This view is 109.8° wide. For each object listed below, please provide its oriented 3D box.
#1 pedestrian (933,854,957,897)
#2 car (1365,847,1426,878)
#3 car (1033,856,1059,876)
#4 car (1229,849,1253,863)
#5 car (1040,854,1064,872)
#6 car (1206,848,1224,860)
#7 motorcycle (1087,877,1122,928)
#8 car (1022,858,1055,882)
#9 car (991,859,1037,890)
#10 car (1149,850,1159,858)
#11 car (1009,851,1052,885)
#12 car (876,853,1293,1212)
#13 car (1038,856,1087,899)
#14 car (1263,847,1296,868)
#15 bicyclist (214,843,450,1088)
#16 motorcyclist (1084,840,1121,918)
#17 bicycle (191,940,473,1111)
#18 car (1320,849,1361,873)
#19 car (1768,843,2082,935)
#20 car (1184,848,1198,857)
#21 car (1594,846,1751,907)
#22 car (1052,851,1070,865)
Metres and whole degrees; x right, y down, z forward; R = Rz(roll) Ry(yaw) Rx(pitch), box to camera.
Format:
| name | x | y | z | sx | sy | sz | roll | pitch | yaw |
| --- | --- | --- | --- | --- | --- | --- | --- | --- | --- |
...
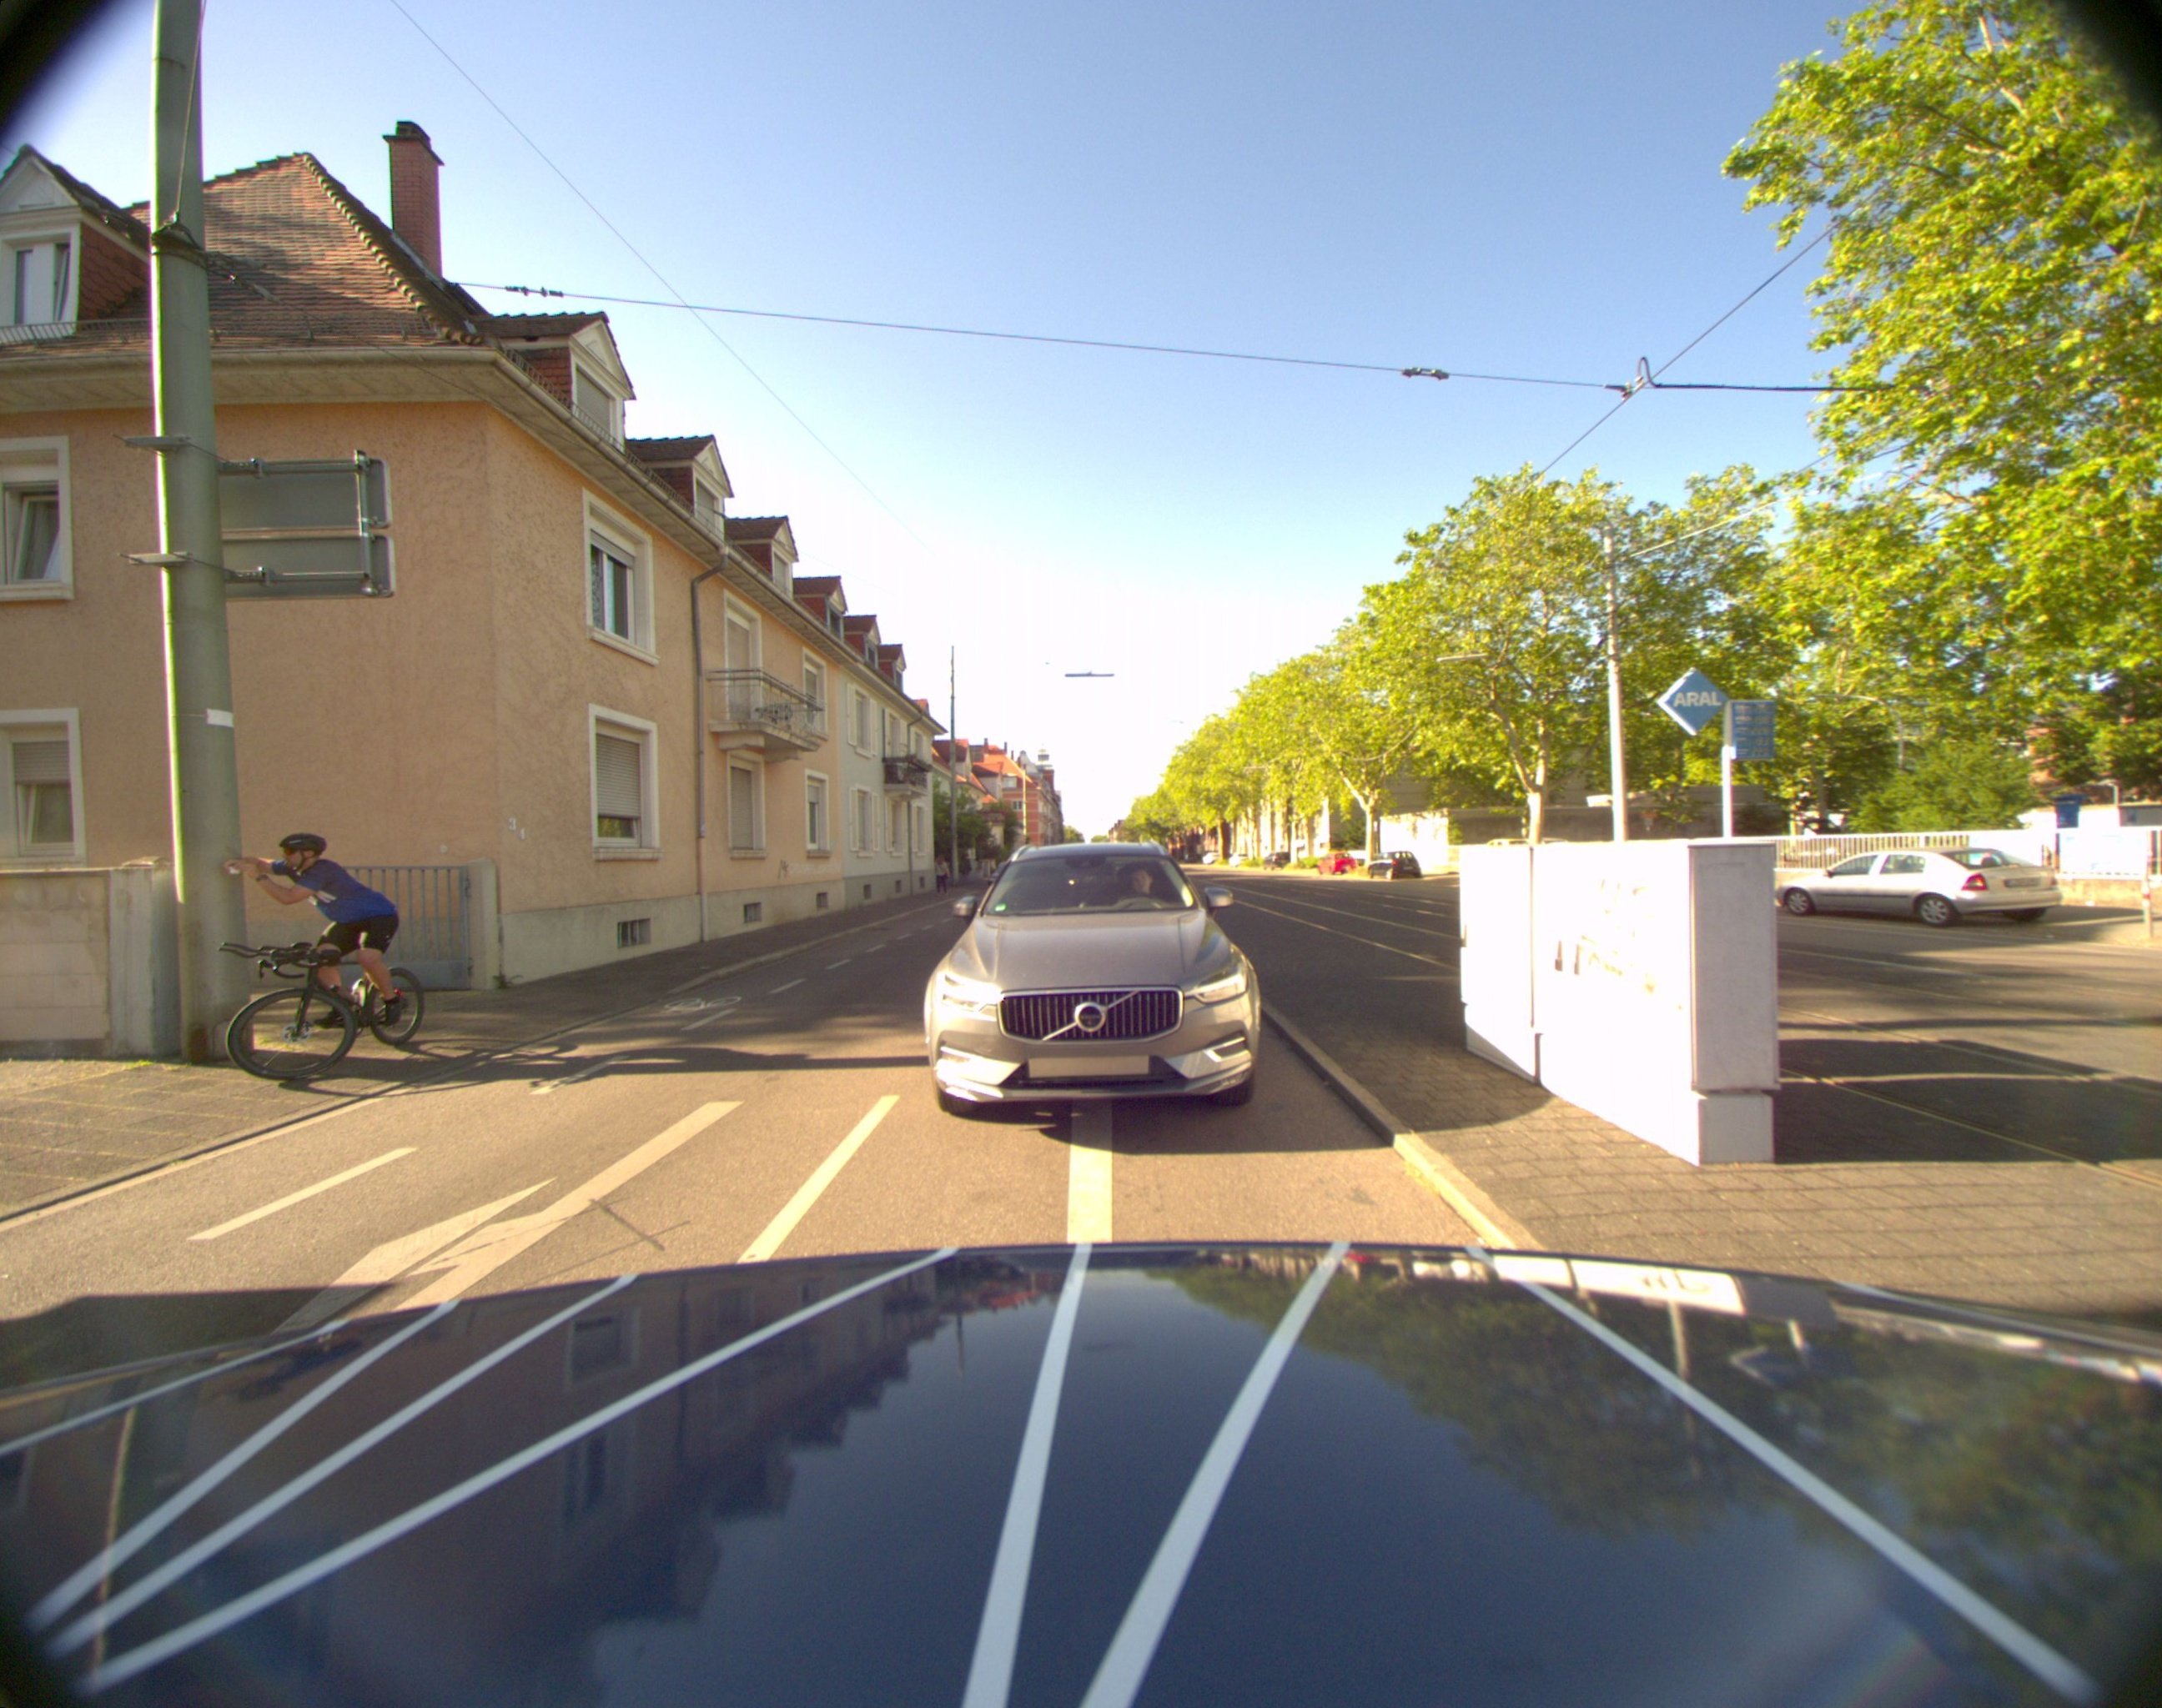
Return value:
| name | x | y | z | sx | sy | sz | roll | pitch | yaw |
| --- | --- | --- | --- | --- | --- | --- | --- | --- | --- |
| pedestrian | -5.465 | 0.855 | 30.549 | 0.694 | 1.652 | 1.098 | -2 | 1 | 0 |
| car | 16.888 | 0.420 | 40.984 | 1.826 | 1.521 | 3.653 | -2 | 0 | 1 |
| car | -2.744 | 0.943 | 60.680 | 1.785 | 1.468 | 4.000 | -1 | 0 | 1 |
| car | 17.554 | 0.220 | 83.430 | 1.802 | 1.489 | 4.000 | -1 | 0 | 1 |
| car | -2.554 | 0.765 | 66.834 | 1.875 | 1.477 | 4.000 | -1 | 0 | 1 |
| car | 17.742 | -0.012 | 100.675 | 1.802 | 1.504 | 4.000 | -1 | 0 | 1 |
| motorcycle | 0.552 | 1.140 | 18.513 | 0.792 | 1.095 | 2.519 | 0 | 0 | 1 |
| car | -2.677 | 0.989 | 48.308 | 1.785 | 1.346 | 4.000 | -1 | 0 | 1 |
| car | -3.205 | 0.962 | 37.031 | 1.647 | 1.357 | 3.868 | -1 | 0 | 4 |
| car | 16.050 | -0.018 | 166.379 | 1.802 | 1.504 | 4.000 | -1 | 0 | 1 |
| car | -2.782 | 0.713 | 42.890 | 1.751 | 1.767 | 5.351 | -1 | 0 | 3 |
| car | 0.045 | 0.849 | 5.759 | 1.940 | 1.650 | 4.321 | -1 | 0 | 1 |
| car | -0.666 | 0.889 | 29.997 | 1.762 | 1.513 | 4.101 | -1 | 0 | 1 |
| car | 17.202 | 0.285 | 66.045 | 1.802 | 1.652 | 4.000 | -1 | 0 | 1 |
| bicyclist | -6.143 | 0.859 | 6.295 | 1.076 | 1.854 | 0.846 | 2 | 1 | 1 |
| motorcyclist | 0.515 | 0.586 | 18.581 | 0.827 | 1.832 | 1.159 | -2 | 1 | 1 |
| bicycle | -5.938 | 1.300 | 6.181 | 0.572 | 0.986 | 1.698 | 2 | 0 | 1 |
| car | 16.949 | 0.433 | 49.753 | 1.641 | 1.499 | 3.046 | -1 | 0 | 1 |
| car | 16.250 | 0.595 | 14.995 | 1.795 | 1.455 | 3.966 | -4 | 0 | 2 |
| car | 18.206 | -0.222 | 125.632 | 1.802 | 1.504 | 4.000 | -1 | 0 | 1 |
| car | 16.436 | 0.574 | 21.343 | 1.692 | 1.455 | 3.519 | -4 | 0 | 2 |
| car | -2.196 | 0.448 | 85.496 | 1.875 | 1.477 | 4.000 | -1 | 0 | 1 |
